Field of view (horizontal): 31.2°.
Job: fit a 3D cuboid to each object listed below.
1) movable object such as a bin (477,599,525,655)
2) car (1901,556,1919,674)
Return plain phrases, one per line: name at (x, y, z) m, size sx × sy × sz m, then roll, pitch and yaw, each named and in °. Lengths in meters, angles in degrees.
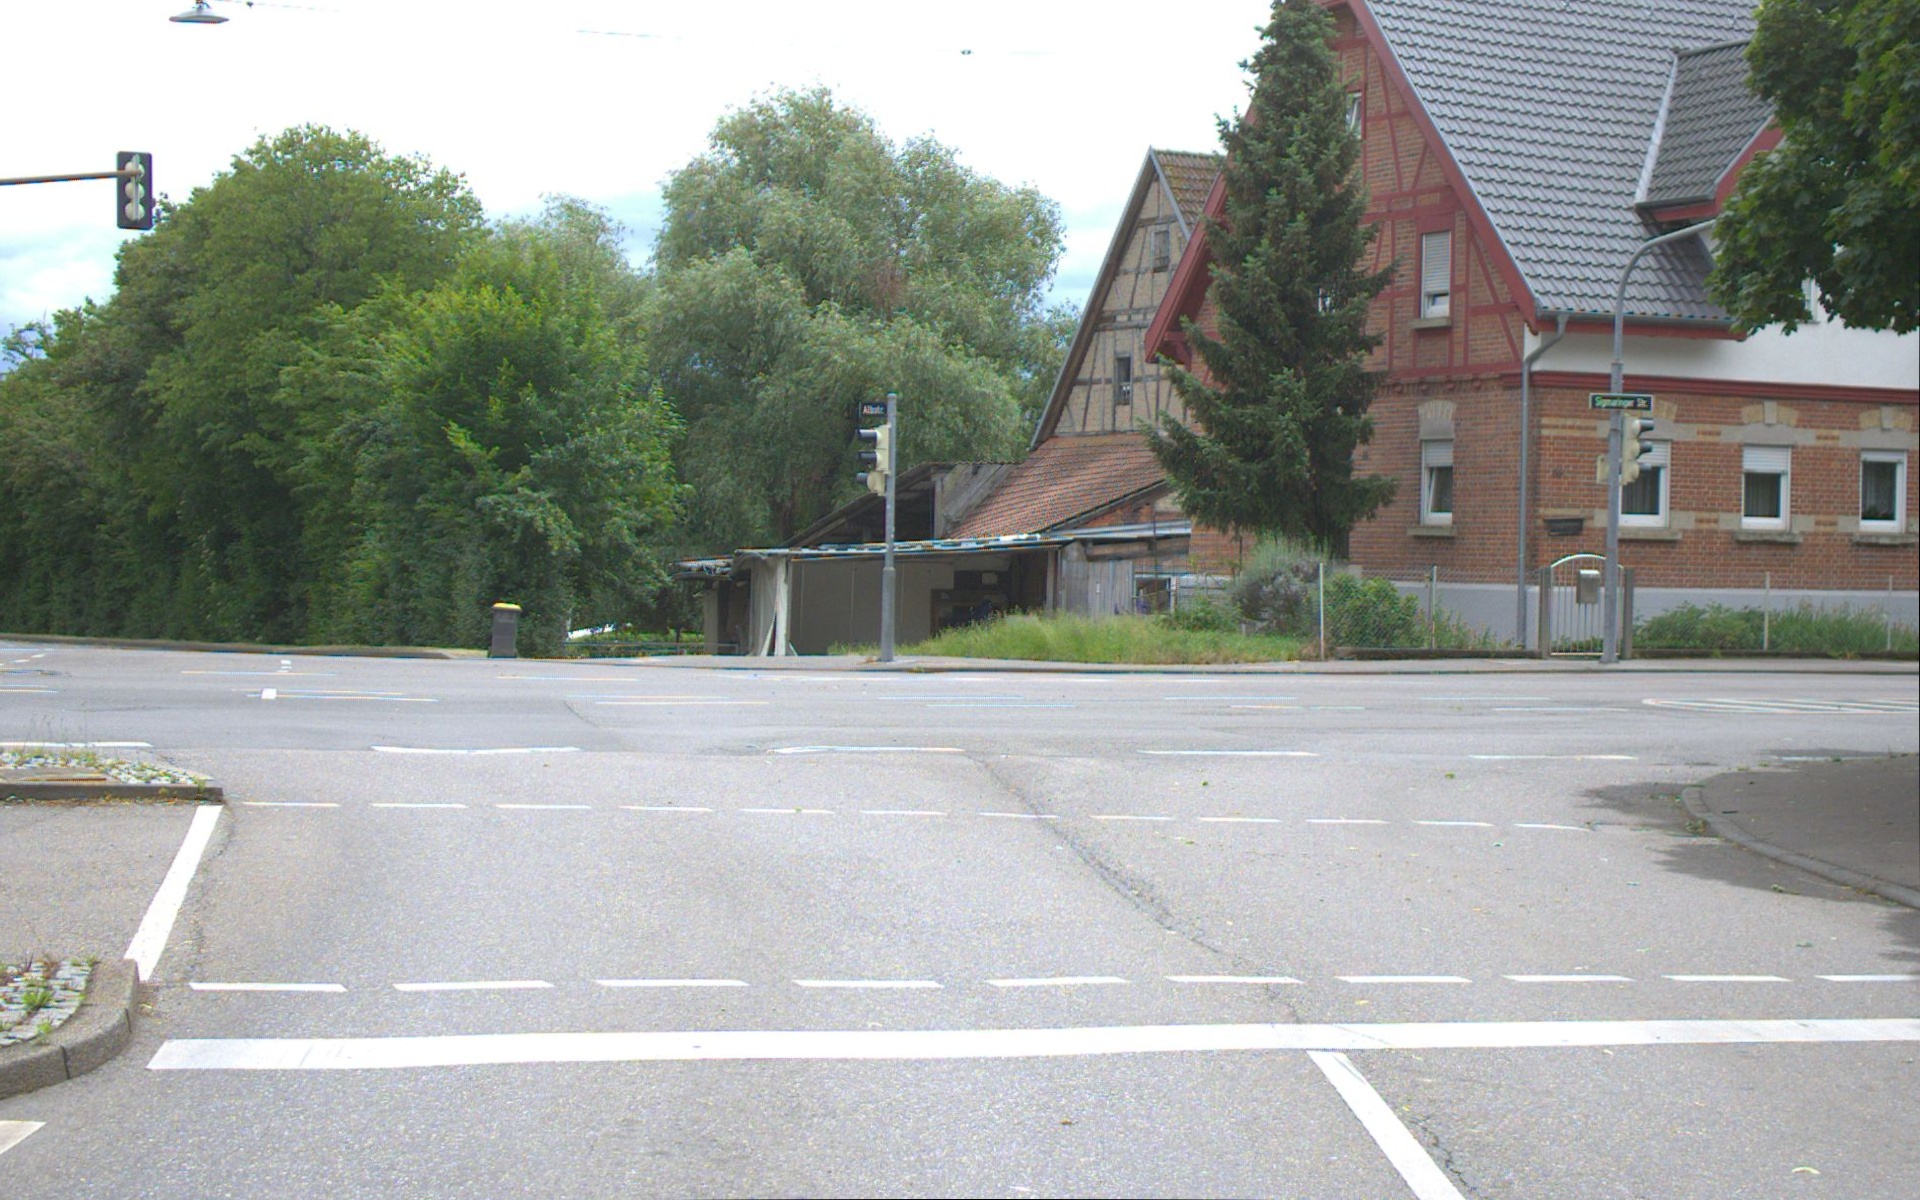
movable object such as a bin at (-7.621, 0.451, 57.108) m, size 0.592 × 0.903 × 0.602 m, roll 1°, pitch 1°, yaw 16°
car at (14.392, 0.220, 44.387) m, size 3.986 × 1.513 × 1.928 m, roll 1°, pitch 1°, yaw -25°
